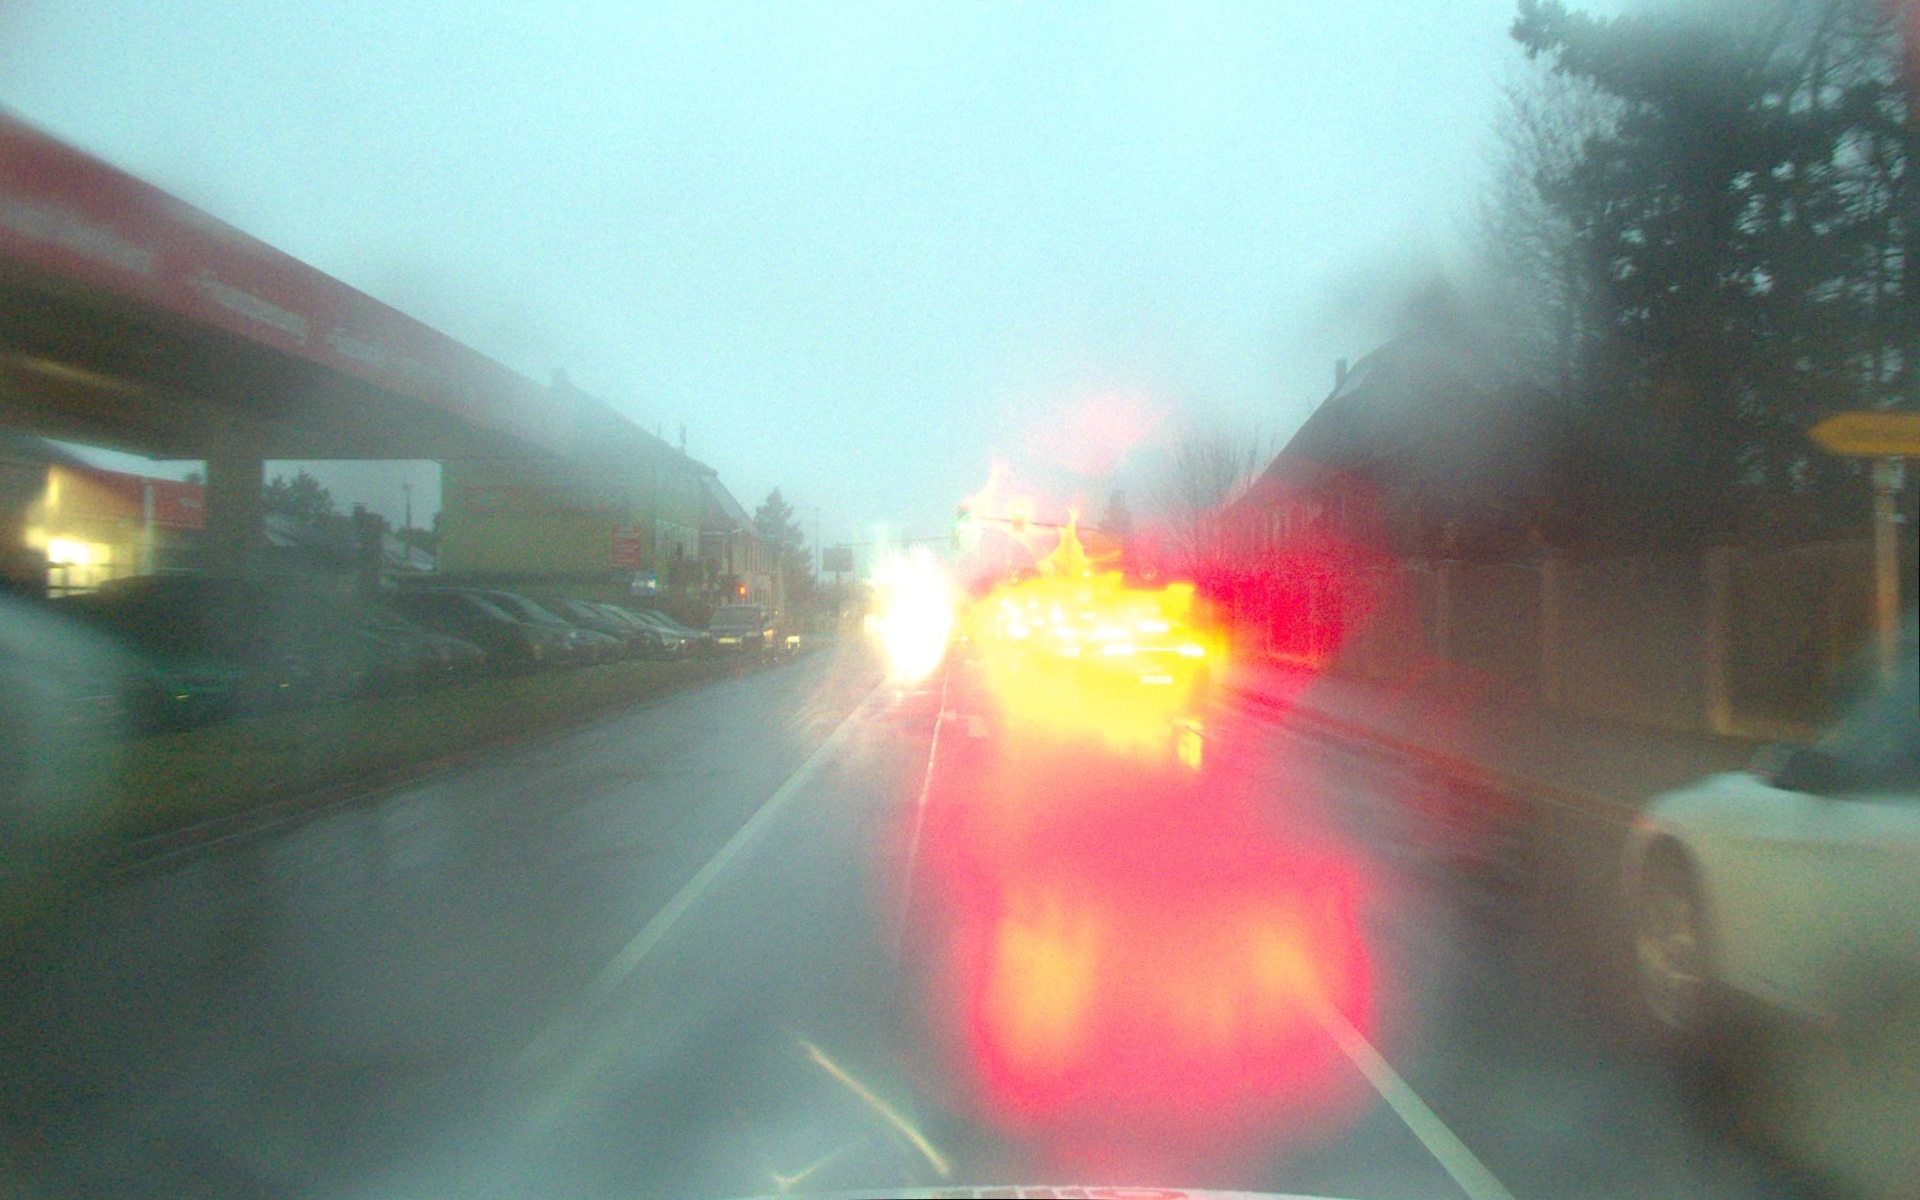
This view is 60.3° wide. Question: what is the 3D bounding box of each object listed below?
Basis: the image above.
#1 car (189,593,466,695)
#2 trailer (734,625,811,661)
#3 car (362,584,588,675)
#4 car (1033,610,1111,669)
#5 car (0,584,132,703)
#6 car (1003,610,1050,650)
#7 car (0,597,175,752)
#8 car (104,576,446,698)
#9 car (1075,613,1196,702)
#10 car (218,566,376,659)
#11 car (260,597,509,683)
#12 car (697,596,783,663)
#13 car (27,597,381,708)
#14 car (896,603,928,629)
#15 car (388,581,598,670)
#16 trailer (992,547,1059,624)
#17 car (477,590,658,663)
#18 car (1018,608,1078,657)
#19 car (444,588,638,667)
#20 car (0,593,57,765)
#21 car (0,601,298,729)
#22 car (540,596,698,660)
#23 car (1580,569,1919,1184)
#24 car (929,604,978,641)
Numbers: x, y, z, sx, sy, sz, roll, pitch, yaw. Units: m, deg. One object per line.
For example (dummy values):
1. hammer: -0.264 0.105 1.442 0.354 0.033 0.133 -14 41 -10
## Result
1. car: -10.207 0.692 26.890 3.780 1.586 1.839 0 0 -1
2. trailer: -6.395 1.446 57.052 1.953 1.057 6.103 -1 0 0
3. car: -10.351 0.618 35.551 4.189 1.691 2.000 3 0 0
4. car: 2.700 0.930 40.538 1.619 1.359 4.272 0 0 0
5. car: -14.453 0.610 24.918 1.850 1.685 4.147 0 0 0
6. car: 2.596 1.164 65.151 1.628 1.464 4.381 1 -1 -1
7. car: -10.020 0.683 16.180 3.780 1.430 1.839 0 0 -1
8. car: -9.979 0.526 24.355 4.193 1.685 1.980 0 0 -1
9. car: 2.965 0.934 28.766 1.607 1.390 4.768 1 0 0
10. car: -14.219 0.266 35.715 1.847 1.902 3.999 0 -1 -1
11. car: -10.216 0.699 29.569 3.780 1.467 1.839 0 0 -1
12. car: -6.491 0.827 49.134 1.930 1.862 4.512 -1 0 0
13. car: -9.828 0.664 21.732 3.780 1.369 1.839 0 0 -1
14. car: -3.426 1.102 118.014 1.952 1.777 4.001 -1 0 3
15. car: -10.750 0.578 38.299 4.189 1.794 2.000 3 0 0
16. trailer: 2.912 -0.580 76.299 2.437 3.297 10.866 1 0 -1
17. car: -10.315 0.684 43.682 4.189 1.691 2.136 3 0 0
18. car: 3.019 1.114 57.433 1.799 1.596 4.503 1 0 0
19. car: -10.268 0.670 40.748 4.189 1.691 2.000 3 0 0
20. car: -9.904 0.611 13.650 3.780 1.434 1.943 2 0 -1
21. car: -9.831 0.707 18.878 3.780 1.369 1.839 0 0 -1
22. car: -10.101 0.814 49.212 4.189 1.655 2.000 3 0 0
23. car: 3.340 0.722 4.472 1.673 1.603 4.464 0 0 0
24. car: -0.336 1.018 75.182 2.006 1.600 4.700 -1 0 -3
